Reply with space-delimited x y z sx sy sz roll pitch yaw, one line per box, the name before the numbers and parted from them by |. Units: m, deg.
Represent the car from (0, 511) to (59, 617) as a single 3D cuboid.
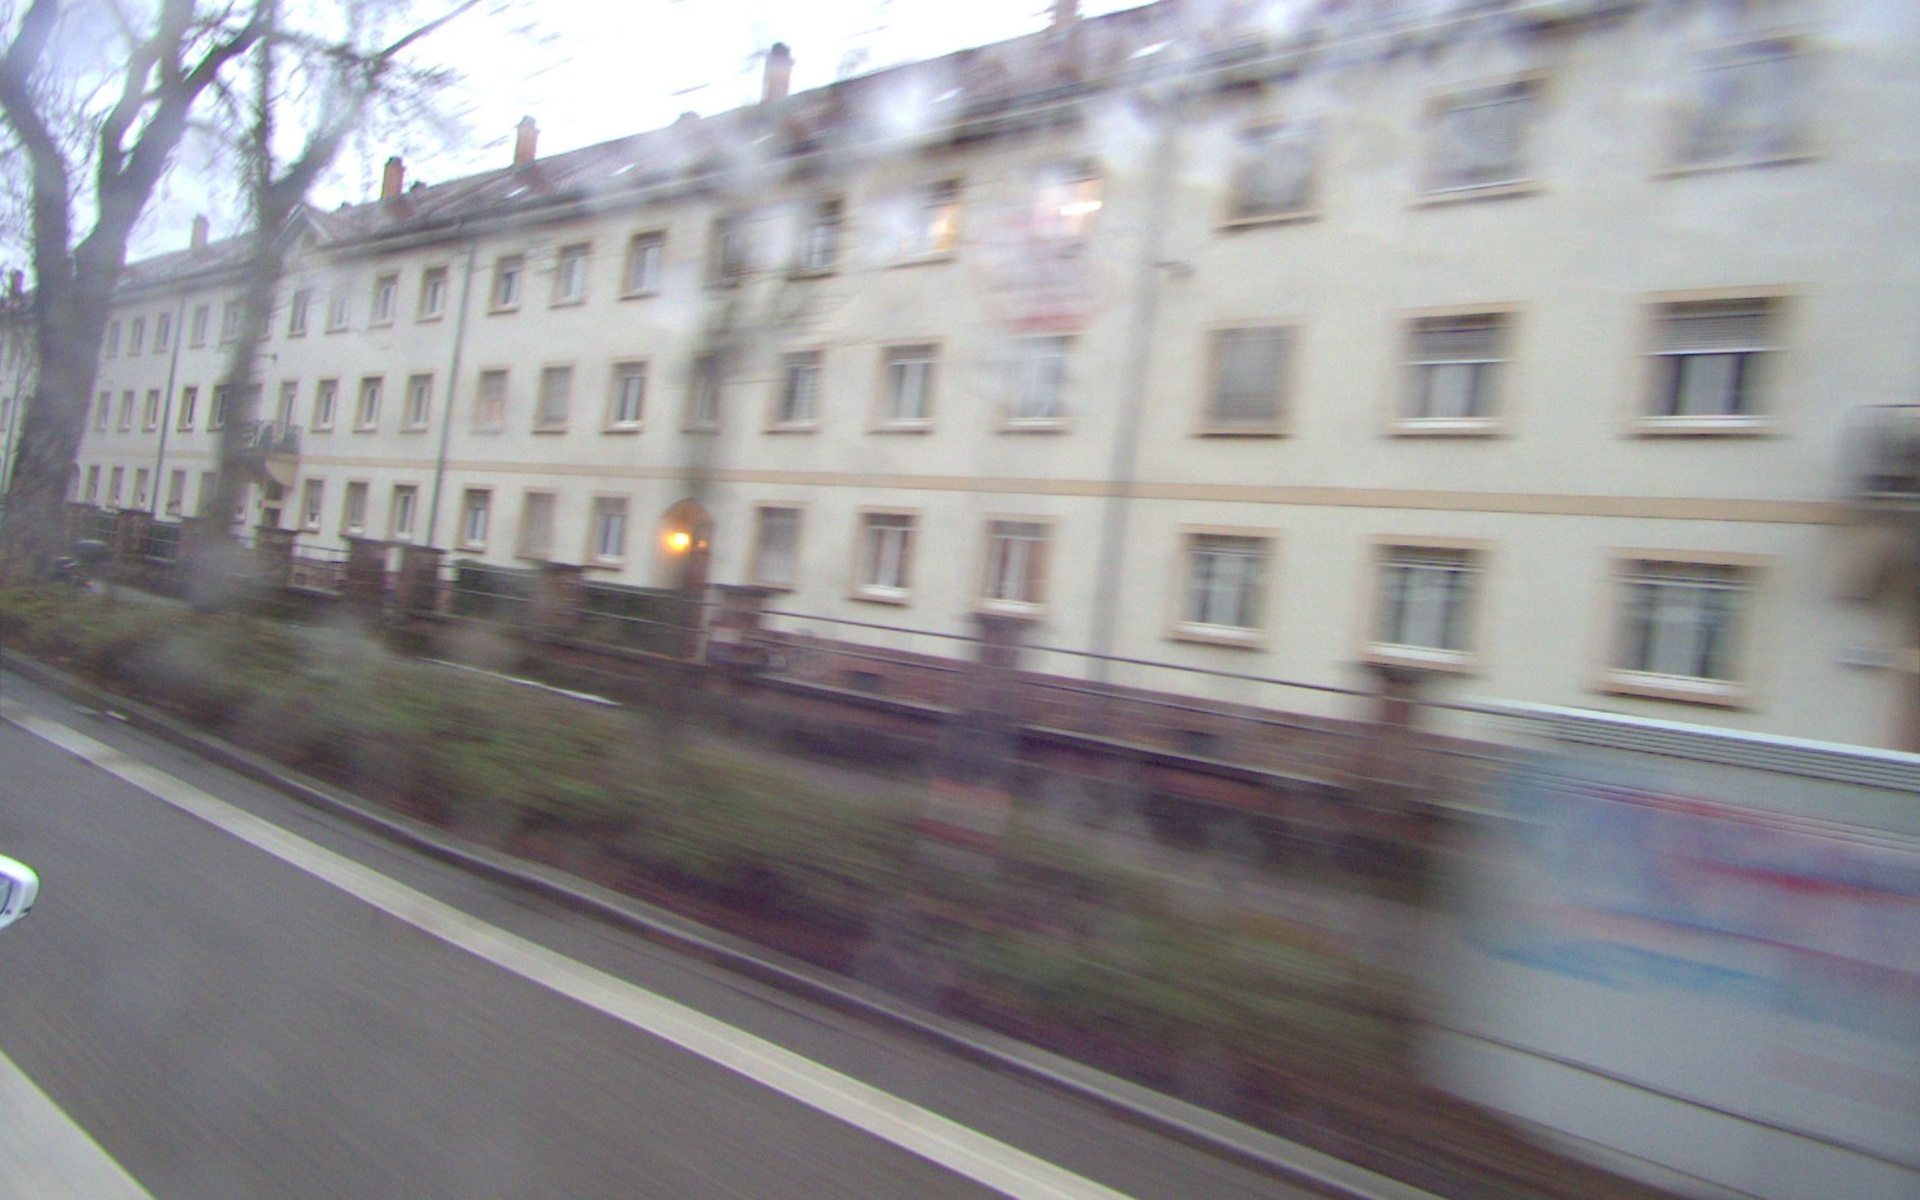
car | -16.101 -0.772 15.839 3.923 1.527 1.788 6 -2 33
